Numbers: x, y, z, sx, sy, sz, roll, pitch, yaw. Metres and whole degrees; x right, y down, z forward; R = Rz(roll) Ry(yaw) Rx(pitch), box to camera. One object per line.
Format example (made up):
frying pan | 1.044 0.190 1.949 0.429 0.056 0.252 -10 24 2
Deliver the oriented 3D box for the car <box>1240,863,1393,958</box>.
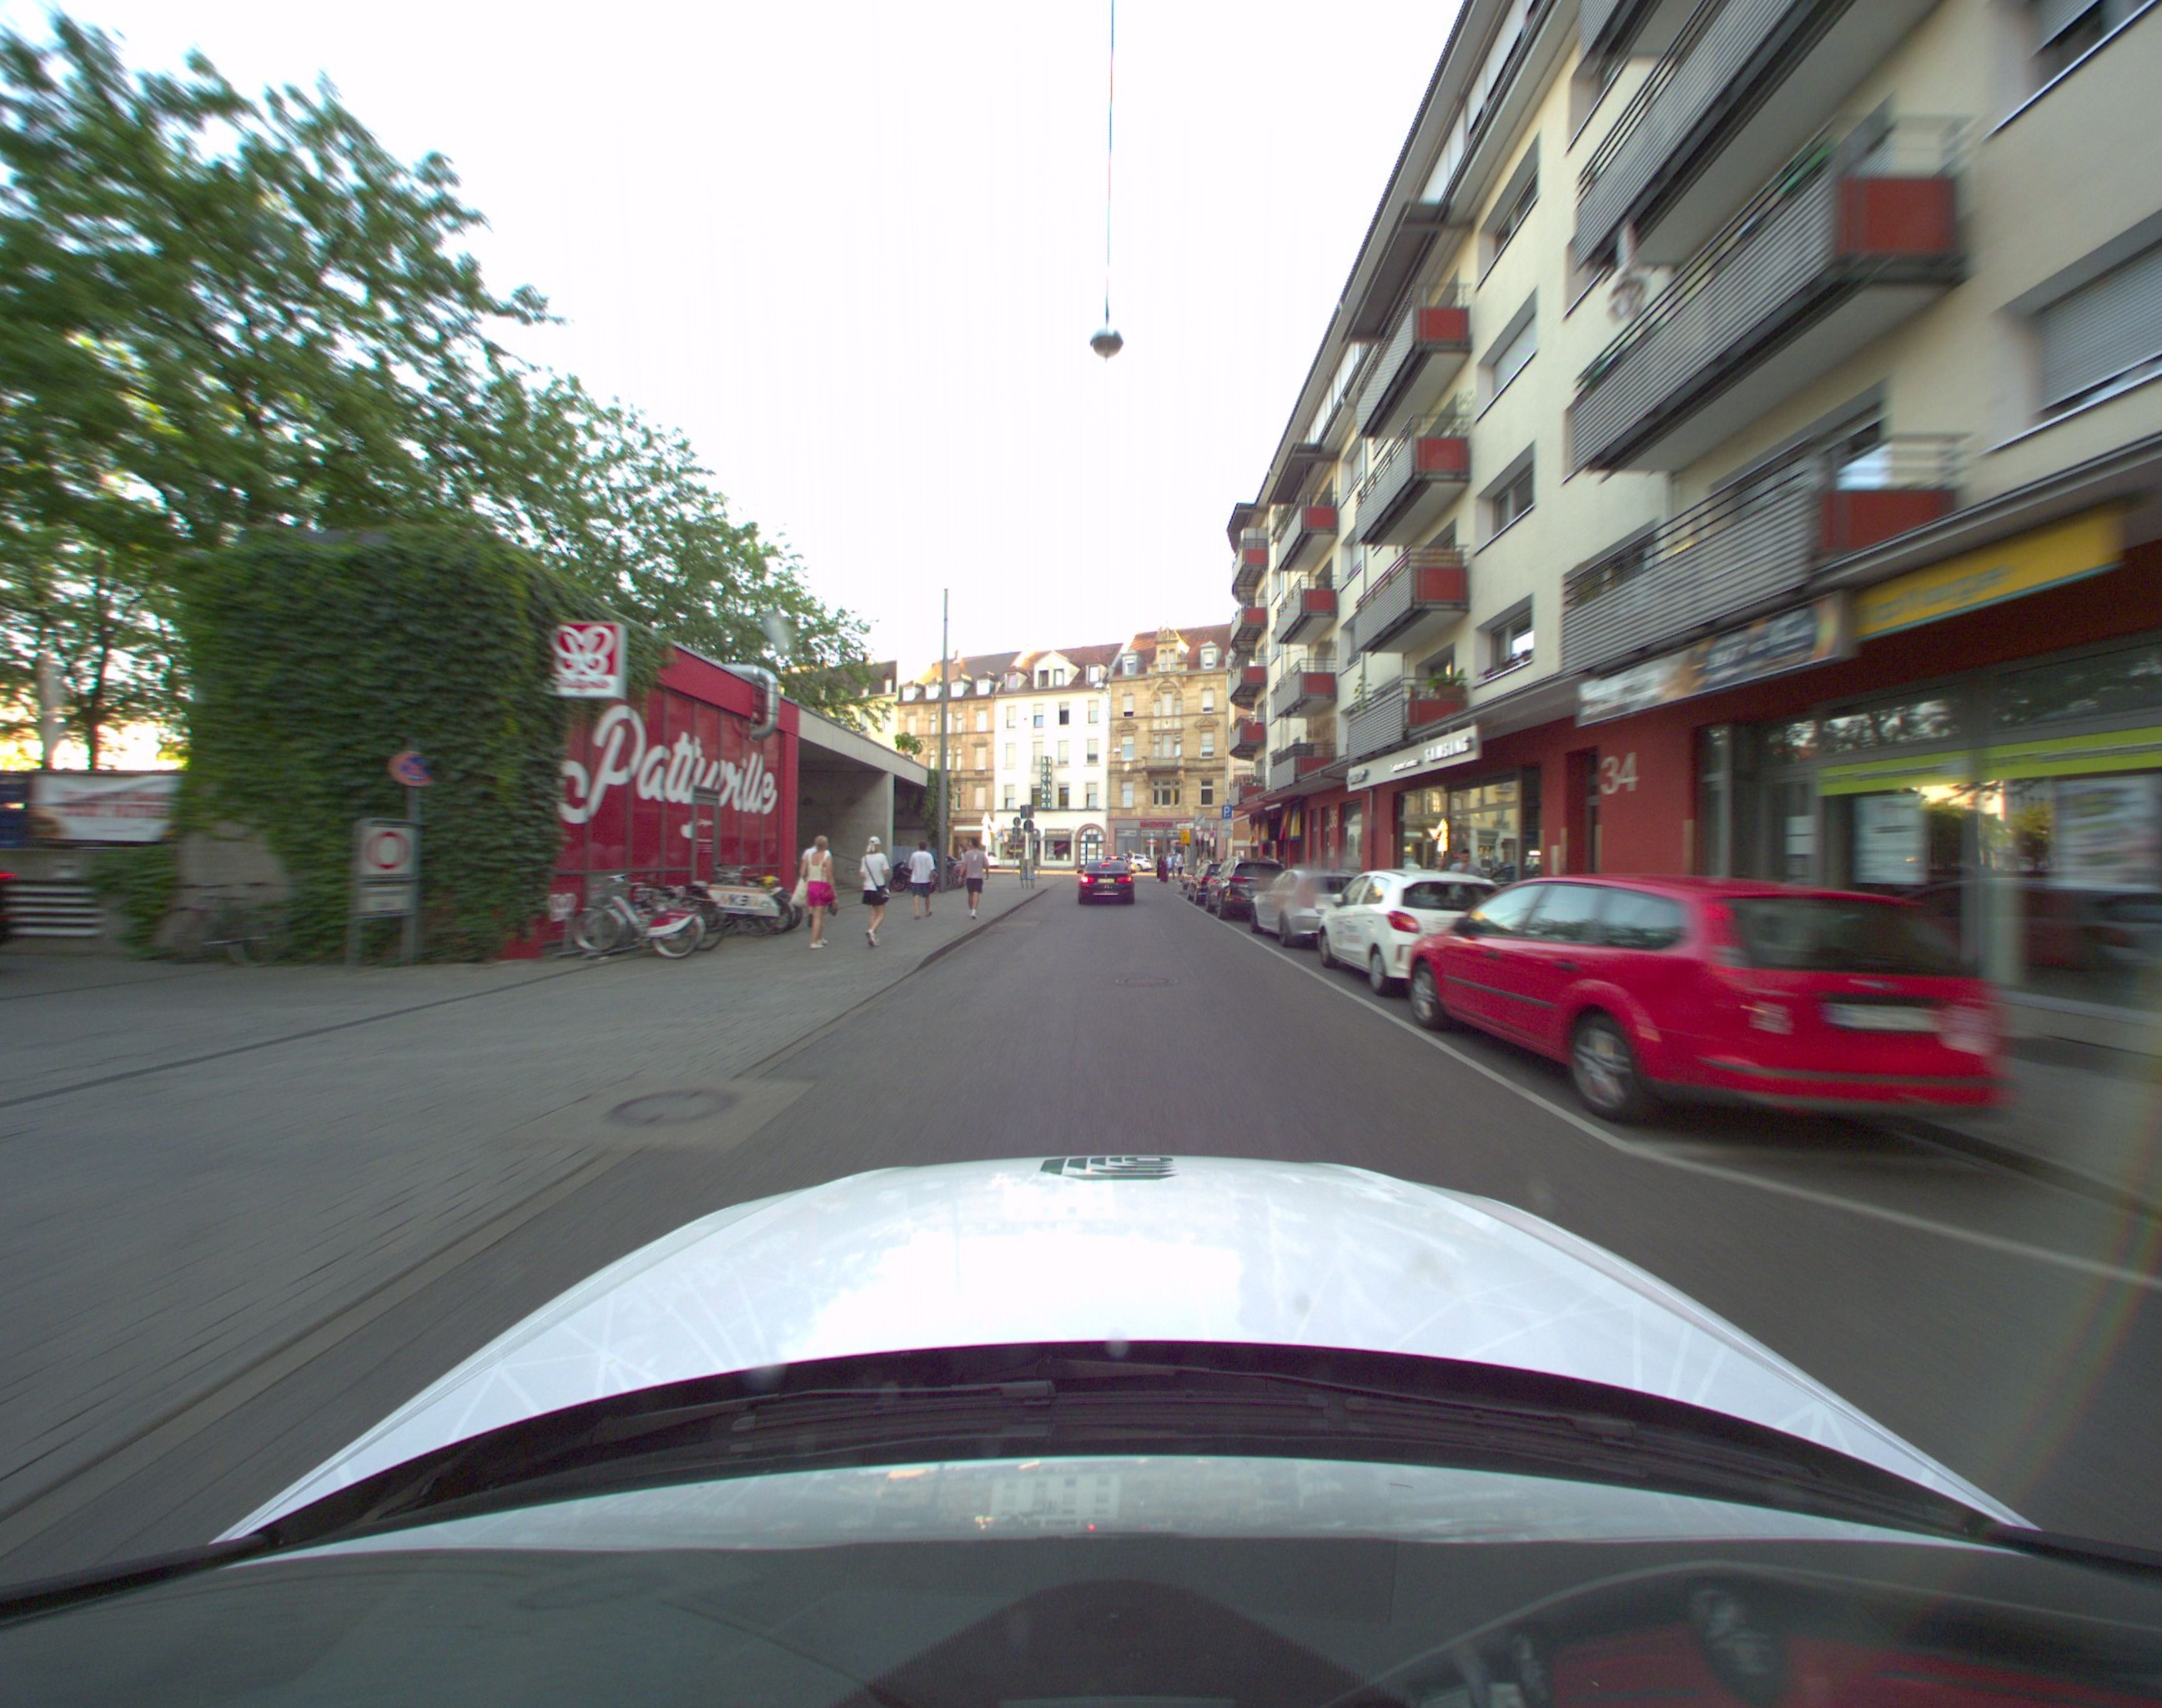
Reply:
car | 4.443 0.986 16.076 1.693 1.452 4.458 3 0 0

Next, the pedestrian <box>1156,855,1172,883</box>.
pedestrian | 4.644 0.850 45.719 0.735 1.513 0.648 2 0 -7

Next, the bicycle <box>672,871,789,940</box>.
bicycle | -6.003 0.868 13.986 1.786 1.107 0.501 1 0 4

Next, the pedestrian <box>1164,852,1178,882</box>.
pedestrian | 5.213 0.730 47.202 0.605 1.746 0.666 0 0 -15

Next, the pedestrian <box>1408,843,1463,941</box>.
pedestrian | 6.208 0.651 14.290 0.645 1.661 0.656 -2 -1 3

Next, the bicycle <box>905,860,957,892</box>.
bicycle | -5.566 0.806 30.204 1.788 1.107 0.500 2 0 0

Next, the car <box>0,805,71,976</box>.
car | -13.277 0.382 8.036 4.202 1.760 2.069 0 0 3

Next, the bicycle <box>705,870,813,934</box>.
bicycle | -5.956 0.872 15.089 1.786 1.107 0.501 1 0 4

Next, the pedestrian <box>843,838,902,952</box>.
pedestrian | -3.333 0.629 13.080 0.646 1.750 0.986 1 0 1

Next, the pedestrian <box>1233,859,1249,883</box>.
pedestrian | 8.832 0.925 44.945 0.611 1.279 0.705 0 0 39

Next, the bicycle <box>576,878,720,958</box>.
bicycle | -6.258 0.916 11.814 1.788 1.107 0.500 1 0 0

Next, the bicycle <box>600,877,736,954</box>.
bicycle | -6.243 0.918 12.350 1.788 1.107 0.500 1 0 0

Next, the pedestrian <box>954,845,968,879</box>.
pedestrian | -6.639 0.443 45.027 0.580 1.882 0.635 0 0 7

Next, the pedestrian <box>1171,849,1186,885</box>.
pedestrian | 5.174 0.675 43.217 0.671 1.877 0.704 1 0 15

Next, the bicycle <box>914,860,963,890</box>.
bicycle | -5.503 0.809 31.546 1.790 1.107 0.499 2 0 -4

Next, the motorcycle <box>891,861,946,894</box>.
motorcycle | -5.733 0.816 28.773 1.783 1.064 0.769 2 0 27

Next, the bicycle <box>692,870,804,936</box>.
bicycle | -5.965 0.870 14.618 1.786 1.107 0.501 1 0 4

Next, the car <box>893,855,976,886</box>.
car | -7.348 0.795 41.234 3.982 1.501 1.887 0 0 -7

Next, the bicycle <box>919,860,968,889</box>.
bicycle | -5.440 0.811 32.249 1.789 1.107 0.500 2 0 -2

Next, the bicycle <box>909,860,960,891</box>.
bicycle | -5.550 0.806 30.798 1.786 1.107 0.501 2 0 4

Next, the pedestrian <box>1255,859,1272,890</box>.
pedestrian | 8.210 0.902 36.588 0.604 1.348 0.696 -1 0 1

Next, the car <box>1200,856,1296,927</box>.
car | 4.500 0.939 22.617 1.758 1.642 4.793 3 0 2

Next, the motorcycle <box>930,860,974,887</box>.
motorcycle | -5.491 0.840 34.805 1.757 1.101 0.561 2 0 -33

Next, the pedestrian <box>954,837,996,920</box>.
pedestrian | -2.494 0.558 19.287 0.741 1.893 1.051 2 0 2

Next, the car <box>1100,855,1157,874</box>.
car | 3.899 0.852 66.767 4.312 1.562 1.879 0 -1 24

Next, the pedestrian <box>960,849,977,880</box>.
pedestrian | -6.321 0.571 45.811 0.665 1.746 0.661 0 0 41

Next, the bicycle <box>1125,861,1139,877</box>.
bicycle | 3.799 1.123 60.647 0.537 1.107 1.792 1 0 -13

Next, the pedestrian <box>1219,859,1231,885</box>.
pedestrian | 7.358 0.894 41.649 0.489 1.303 0.418 -3 0 2

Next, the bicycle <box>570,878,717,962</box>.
bicycle | -6.142 0.917 11.466 1.787 1.107 0.500 1 0 1

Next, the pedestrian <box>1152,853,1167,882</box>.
pedestrian | 4.474 0.779 46.363 0.723 1.609 0.648 2 0 -7

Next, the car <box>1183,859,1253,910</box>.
car | 4.696 0.986 28.508 1.758 1.502 4.793 3 0 2

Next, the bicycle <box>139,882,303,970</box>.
bicycle | -10.522 0.872 9.981 1.653 1.013 0.371 1 -1 3

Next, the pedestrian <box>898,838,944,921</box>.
pedestrian | -3.630 0.562 18.591 0.738 1.812 1.009 3 0 1

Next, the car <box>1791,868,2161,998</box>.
car | 12.032 0.901 10.934 1.732 1.336 4.004 0 0 4

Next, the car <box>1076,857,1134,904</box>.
car | 0.828 0.832 27.449 1.758 1.375 4.793 1 0 2

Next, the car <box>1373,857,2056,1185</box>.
car | 3.984 0.837 6.369 1.706 1.512 4.652 3 0 0

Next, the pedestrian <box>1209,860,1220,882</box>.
pedestrian | 7.626 0.981 46.549 0.613 1.254 0.737 0 0 8

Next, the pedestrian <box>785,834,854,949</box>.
pedestrian | -4.146 0.577 12.957 0.750 1.749 0.847 2 0 1

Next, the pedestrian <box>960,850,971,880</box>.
pedestrian | -6.305 0.597 44.350 0.498 1.643 0.521 0 0 4

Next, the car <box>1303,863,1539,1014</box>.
car | 4.250 0.939 10.900 1.600 1.512 4.051 3 0 3

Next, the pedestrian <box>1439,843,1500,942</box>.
pedestrian | 6.758 0.650 14.188 0.645 1.661 0.794 -2 -1 4

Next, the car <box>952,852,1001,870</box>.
car | -9.327 0.626 72.959 3.951 1.510 1.810 0 -1 24

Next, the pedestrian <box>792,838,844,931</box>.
pedestrian | -5.085 0.570 15.795 0.714 1.754 0.848 0 0 0

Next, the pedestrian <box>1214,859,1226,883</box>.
pedestrian | 7.735 0.930 45.249 0.613 1.284 0.661 0 0 10

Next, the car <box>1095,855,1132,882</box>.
car | 1.917 0.817 46.934 1.868 1.473 4.006 0 0 6

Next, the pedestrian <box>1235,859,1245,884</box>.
pedestrian | 8.432 0.921 43.184 0.486 1.276 0.523 0 0 15

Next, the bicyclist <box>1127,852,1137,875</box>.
bicyclist | 3.808 0.710 60.634 0.524 1.756 0.617 1 -1 -14

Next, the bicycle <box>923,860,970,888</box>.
bicycle | -5.457 0.810 33.175 1.787 1.107 0.500 2 0 1
